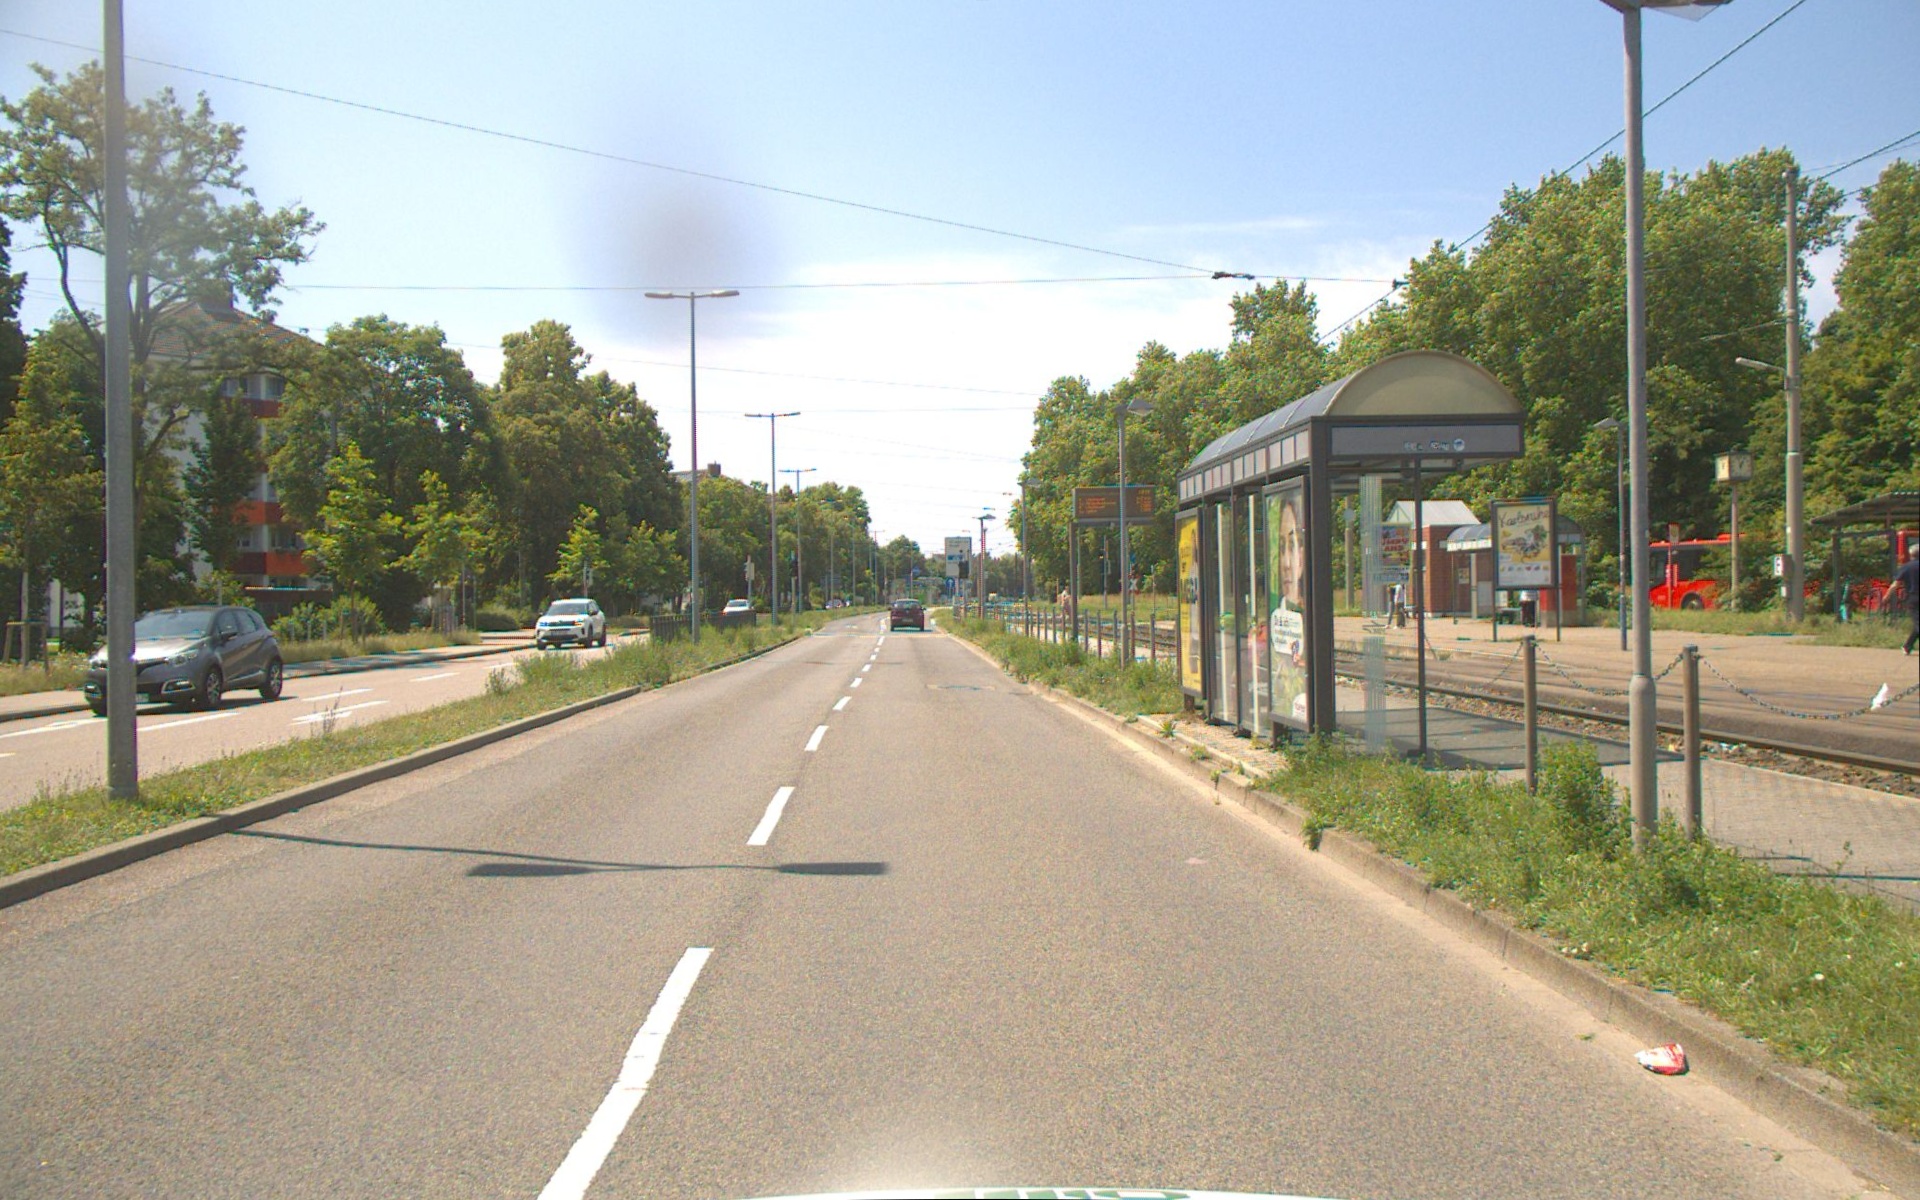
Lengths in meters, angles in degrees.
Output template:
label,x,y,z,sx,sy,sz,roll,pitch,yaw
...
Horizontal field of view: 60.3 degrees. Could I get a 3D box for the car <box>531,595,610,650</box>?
label,x,y,z,sx,sy,sz,roll,pitch,yaw
car,-13.488,0.776,57.503,1.822,1.789,4.477,-2,-1,-2

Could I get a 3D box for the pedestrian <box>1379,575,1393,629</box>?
label,x,y,z,sx,sy,sz,roll,pitch,yaw
pedestrian,13.318,0.077,51.715,0.353,1.675,0.445,0,-1,1

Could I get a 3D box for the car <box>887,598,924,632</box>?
label,x,y,z,sx,sy,sz,roll,pitch,yaw
car,-2.571,0.685,78.416,1.668,1.503,3.715,-2,0,-2

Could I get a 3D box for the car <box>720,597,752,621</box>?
label,x,y,z,sx,sy,sz,roll,pitch,yaw
car,-15.638,0.605,115.680,1.784,1.600,4.345,-2,0,-2

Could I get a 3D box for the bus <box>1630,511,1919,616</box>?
label,x,y,z,sx,sy,sz,roll,pitch,yaw
bus,30.689,-1.160,61.943,2.720,3.499,12.365,1,-1,-21

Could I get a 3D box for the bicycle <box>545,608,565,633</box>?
label,x,y,z,sx,sy,sz,roll,pitch,yaw
bicycle,-18.031,0.925,73.699,0.542,1.114,1.379,0,-1,-1

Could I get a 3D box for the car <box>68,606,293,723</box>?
label,x,y,z,sx,sy,sz,roll,pitch,yaw
car,-12.052,0.956,25.877,1.732,1.581,4.080,-3,-1,-4

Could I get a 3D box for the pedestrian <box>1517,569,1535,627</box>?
label,x,y,z,sx,sy,sz,roll,pitch,yaw
pedestrian,16.119,-0.053,47.109,0.352,1.624,0.612,0,-1,3

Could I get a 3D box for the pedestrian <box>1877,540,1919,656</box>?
label,x,y,z,sx,sy,sz,roll,pitch,yaw
pedestrian,15.030,-0.034,26.122,0.691,1.795,0.657,-2,0,-1

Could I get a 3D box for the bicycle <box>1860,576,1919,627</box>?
label,x,y,z,sx,sy,sz,roll,pitch,yaw
bicycle,22.244,0.025,39.181,0.585,1.106,2.191,-1,2,-1

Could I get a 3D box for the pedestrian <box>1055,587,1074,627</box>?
label,x,y,z,sx,sy,sz,roll,pitch,yaw
pedestrian,4.794,0.317,75.835,0.624,1.790,0.813,1,-1,-16

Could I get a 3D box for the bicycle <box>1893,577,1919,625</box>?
label,x,y,z,sx,sy,sz,roll,pitch,yaw
bicycle,23.040,0.038,39.209,0.585,1.106,2.191,-1,2,-1

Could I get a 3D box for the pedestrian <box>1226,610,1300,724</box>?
label,x,y,z,sx,sy,sz,roll,pitch,yaw
pedestrian,2.920,0.635,15.967,0.564,1.058,0.579,-1,0,-2

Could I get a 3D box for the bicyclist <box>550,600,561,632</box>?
label,x,y,z,sx,sy,sz,roll,pitch,yaw
bicyclist,-18.022,0.709,73.657,0.350,1.416,0.440,0,0,0

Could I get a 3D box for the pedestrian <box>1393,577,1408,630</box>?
label,x,y,z,sx,sy,sz,roll,pitch,yaw
pedestrian,13.646,0.121,51.211,0.353,1.624,0.483,0,-1,1

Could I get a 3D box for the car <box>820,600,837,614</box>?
label,x,y,z,sx,sy,sz,roll,pitch,yaw
car,-14.778,0.789,185.984,1.721,1.570,4.160,-2,0,-2
